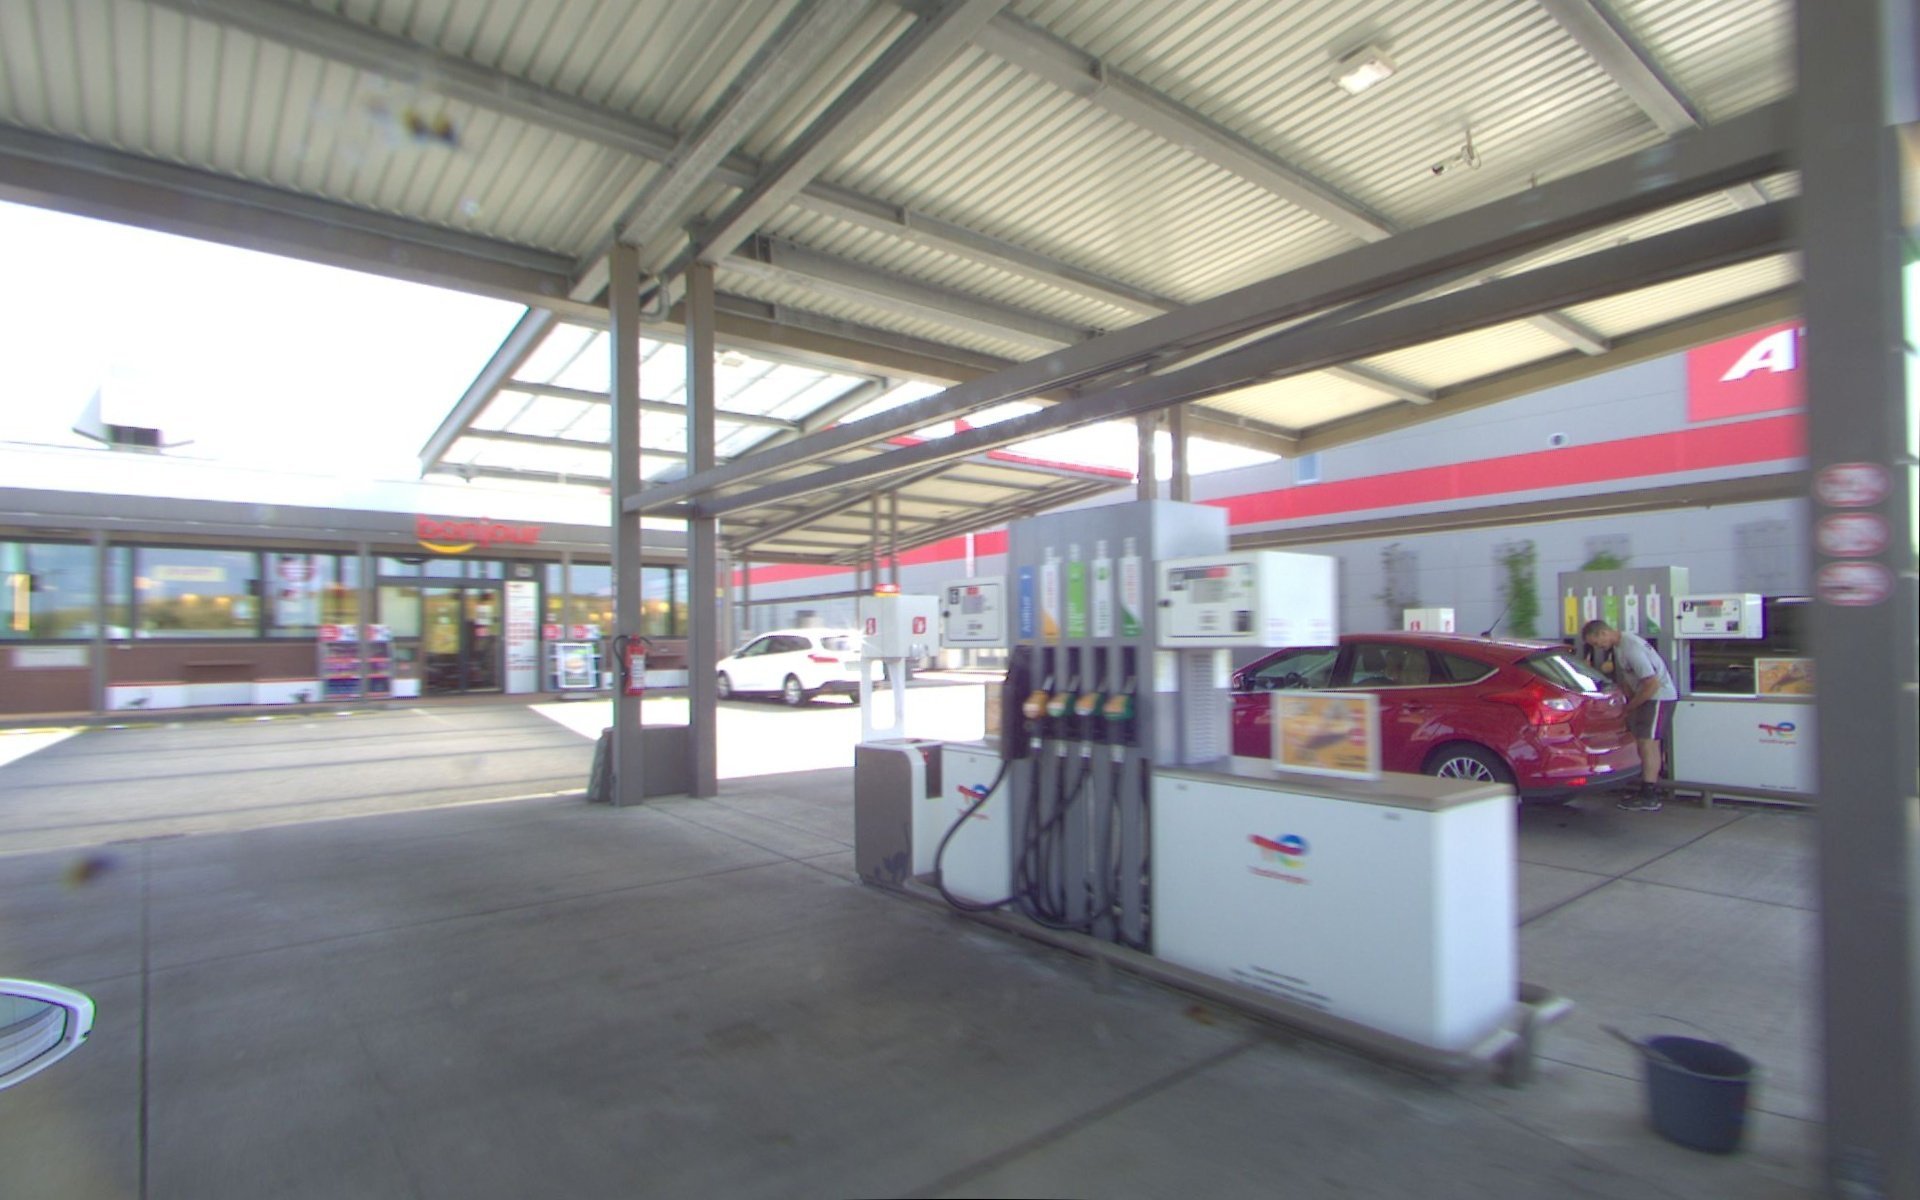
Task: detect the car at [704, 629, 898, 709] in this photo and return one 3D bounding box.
[{"bbox_3d":[-3.371,1.352,20.706,1.819,1.475,4.278,1,-2,-45],"label":"car"}]

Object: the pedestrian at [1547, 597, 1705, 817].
[{"bbox_3d":[5.593,0.855,8.428,0.695,1.724,0.921,1,-1,-38],"label":"pedestrian"}]

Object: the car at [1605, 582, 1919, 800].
[{"bbox_3d":[9.026,0.797,9.285,2.011,1.875,4.759,1,-1,-39],"label":"car"}]

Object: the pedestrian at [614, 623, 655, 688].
[{"bbox_3d":[-7.399,1.249,22.754,0.696,1.450,0.667,1,-1,-40],"label":"pedestrian"}]

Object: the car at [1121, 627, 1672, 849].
[{"bbox_3d":[3.573,1.001,8.899,1.685,1.487,4.199,1,-2,-39],"label":"car"}]
